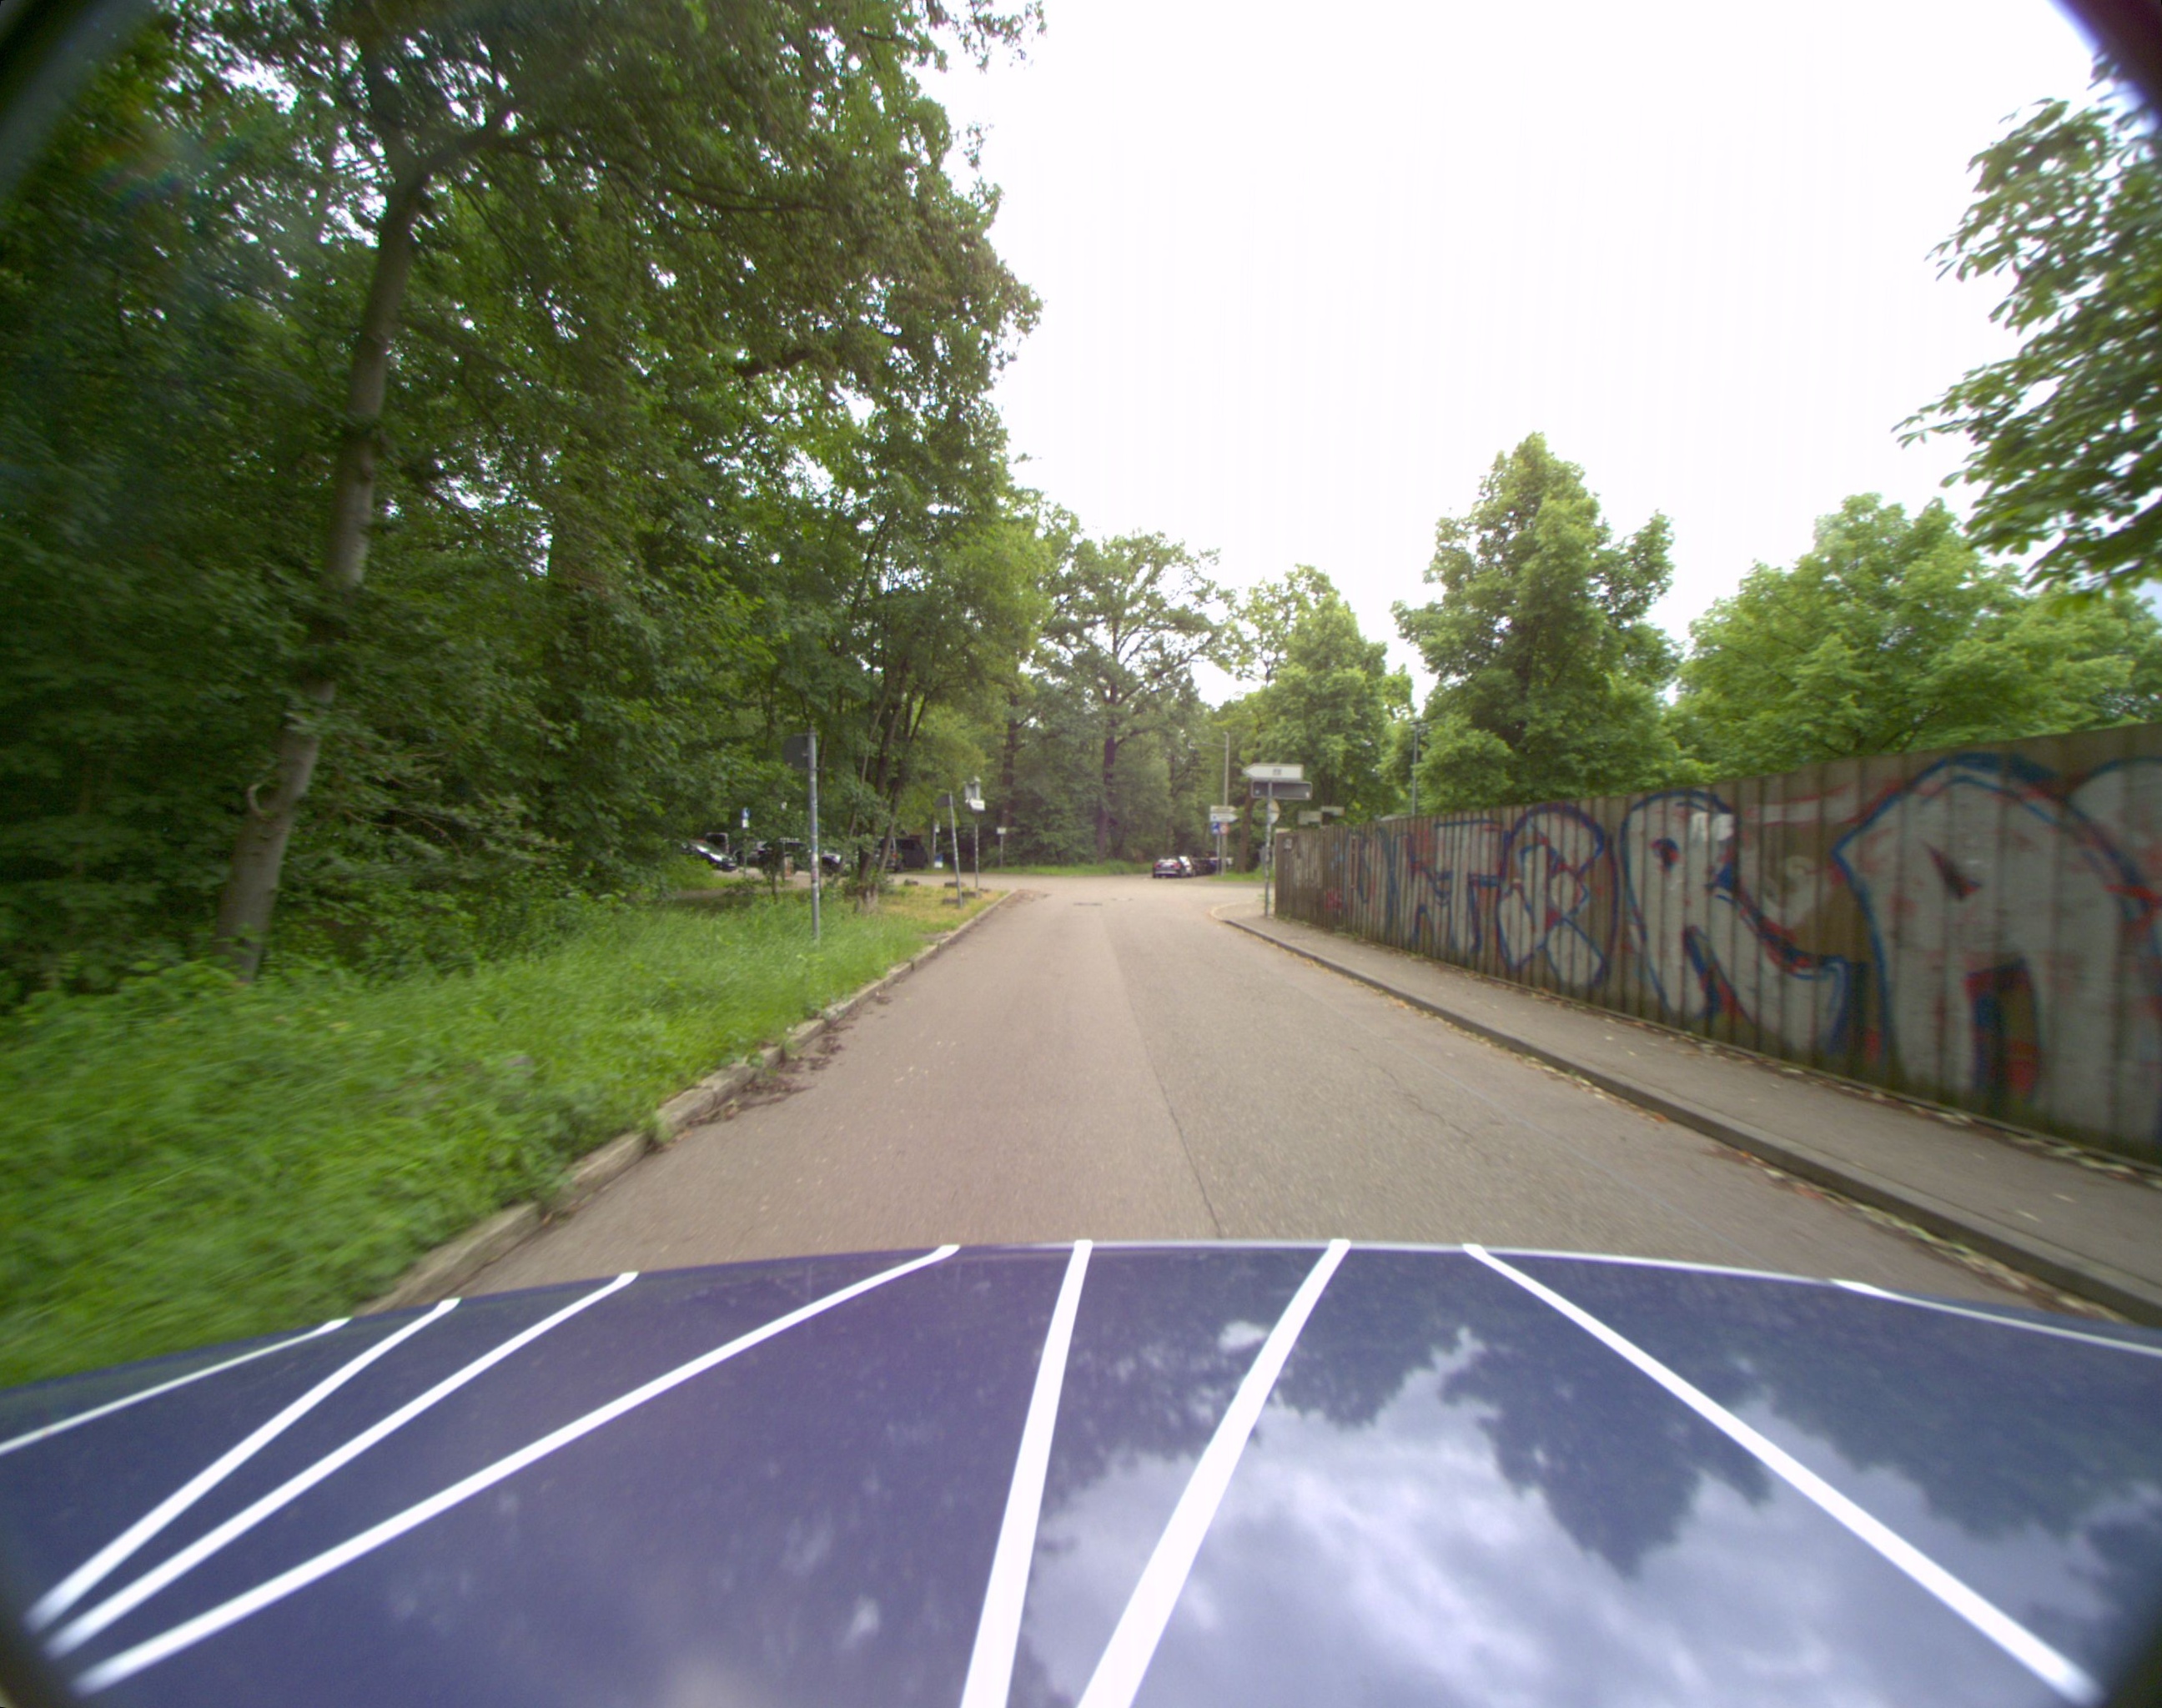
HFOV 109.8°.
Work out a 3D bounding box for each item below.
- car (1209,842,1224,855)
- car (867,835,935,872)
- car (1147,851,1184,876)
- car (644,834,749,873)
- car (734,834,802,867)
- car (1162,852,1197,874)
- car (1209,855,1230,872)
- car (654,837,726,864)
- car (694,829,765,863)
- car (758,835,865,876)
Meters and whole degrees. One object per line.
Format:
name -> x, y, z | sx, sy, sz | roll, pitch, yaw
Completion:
car -> 25.805, -1.047, 144.581 | 2.577, 2.520, 4.939 | 1, 1, 10
car -> -10.036, -0.026, 42.630 | 1.887, 1.966, 4.522 | 2, 0, 12
car -> 5.206, 0.594, 46.253 | 1.769, 1.485, 4.332 | 0, -1, 12
car -> -17.620, -0.062, 34.877 | 3.991, 1.624, 1.816 | 2, 2, 11
car -> -18.070, -0.236, 43.995 | 1.821, 1.756, 4.002 | 2, 2, 8
car -> 6.641, 0.614, 51.007 | 1.996, 1.411, 4.005 | 0, -1, 12
car -> 14.005, 0.930, 77.231 | 1.956, 1.609, 3.641 | 3, 1, 9
car -> -22.858, -0.187, 44.622 | 1.777, 1.467, 4.002 | 1, 1, 8
car -> -20.461, -0.427, 44.422 | 1.810, 1.851, 4.003 | 2, 0, 10
car -> -11.906, 0.029, 33.638 | 4.092, 1.624, 1.816 | 2, 2, 11
